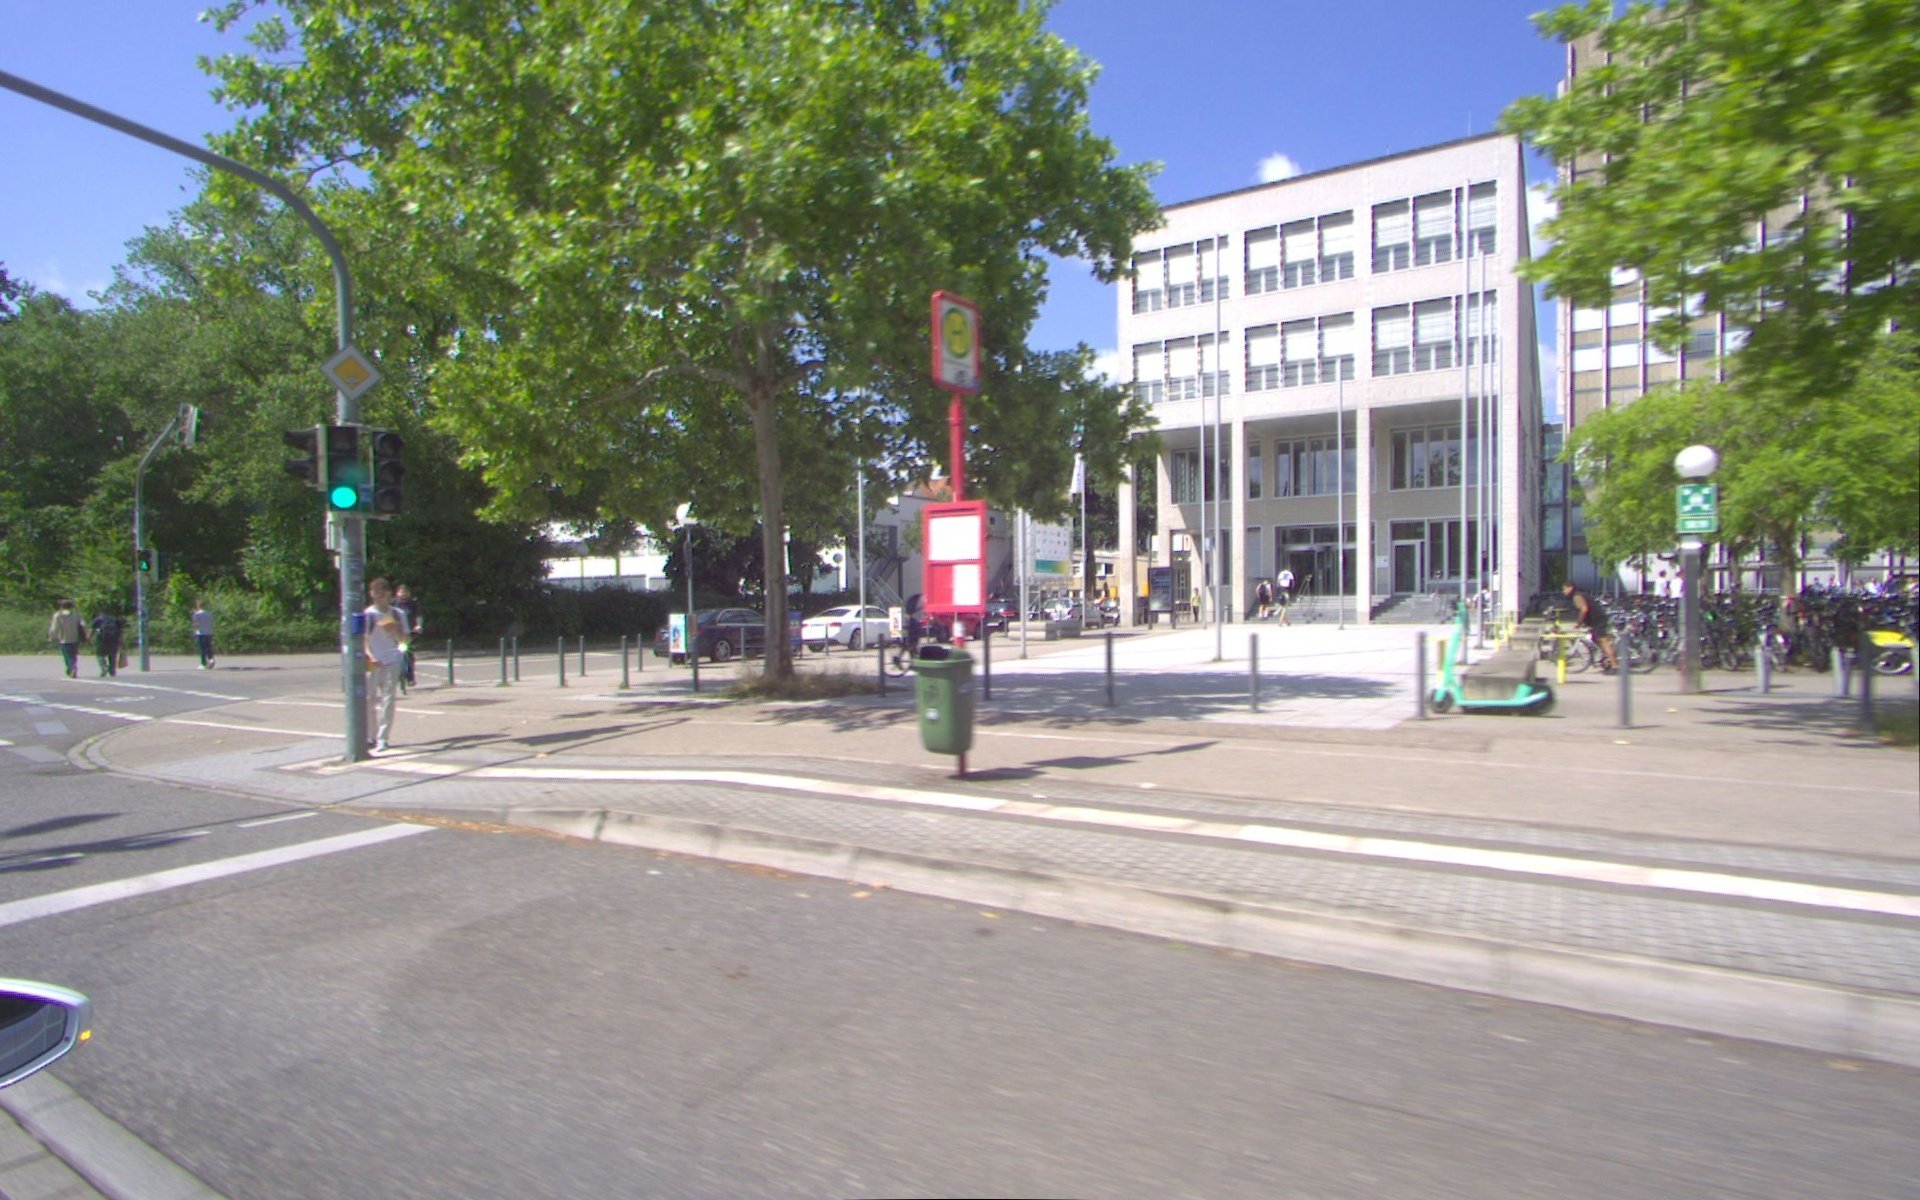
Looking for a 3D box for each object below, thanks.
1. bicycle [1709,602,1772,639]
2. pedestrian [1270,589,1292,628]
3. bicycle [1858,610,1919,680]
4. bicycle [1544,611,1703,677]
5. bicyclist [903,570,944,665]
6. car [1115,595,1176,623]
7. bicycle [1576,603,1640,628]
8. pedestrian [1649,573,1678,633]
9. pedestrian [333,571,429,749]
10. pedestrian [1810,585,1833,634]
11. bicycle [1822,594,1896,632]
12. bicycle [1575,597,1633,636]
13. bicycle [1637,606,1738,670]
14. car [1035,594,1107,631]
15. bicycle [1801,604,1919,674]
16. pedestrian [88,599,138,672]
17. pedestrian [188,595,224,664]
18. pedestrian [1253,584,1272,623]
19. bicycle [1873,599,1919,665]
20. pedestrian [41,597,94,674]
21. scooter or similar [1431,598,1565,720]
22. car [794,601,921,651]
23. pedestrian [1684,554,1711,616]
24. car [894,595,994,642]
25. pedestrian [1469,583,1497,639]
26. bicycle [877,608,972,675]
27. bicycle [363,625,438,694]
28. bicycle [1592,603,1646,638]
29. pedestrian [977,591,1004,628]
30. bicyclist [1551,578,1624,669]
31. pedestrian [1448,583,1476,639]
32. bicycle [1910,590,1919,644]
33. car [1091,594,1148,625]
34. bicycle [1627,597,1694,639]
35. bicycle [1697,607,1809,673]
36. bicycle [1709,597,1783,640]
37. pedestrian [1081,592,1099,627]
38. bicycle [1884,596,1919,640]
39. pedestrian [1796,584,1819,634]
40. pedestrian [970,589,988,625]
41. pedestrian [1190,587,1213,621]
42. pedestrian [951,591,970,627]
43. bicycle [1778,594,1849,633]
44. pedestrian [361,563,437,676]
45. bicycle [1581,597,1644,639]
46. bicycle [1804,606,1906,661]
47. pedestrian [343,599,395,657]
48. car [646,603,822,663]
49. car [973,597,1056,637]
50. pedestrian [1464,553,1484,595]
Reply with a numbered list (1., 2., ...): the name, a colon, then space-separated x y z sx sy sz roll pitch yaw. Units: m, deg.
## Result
1. bicycle: 24.246 0.636 31.139 0.592 1.113 1.768 0 -1 1
2. pedestrian: 13.349 0.352 41.595 0.710 1.605 0.712 0 -1 34
3. bicycle: 15.862 0.736 16.475 0.592 1.113 1.767 0 0 1
4. bicycle: 11.626 0.762 17.619 0.892 1.092 2.140 0 -2 -35
5. bicyclist: -0.728 0.354 20.014 0.747 1.869 0.662 0 -1 -8
6. car: 10.283 0.456 55.233 1.845 1.484 4.497 0 0 31
7. bicycle: 21.930 0.529 33.896 1.736 0.803 0.519 -1 1 19
8. pedestrian: 26.840 0.110 38.211 0.622 2.258 0.717 0 -1 1
9. pedestrian: -6.129 0.615 10.630 0.599 1.826 0.595 -2 3 -6
10. pedestrian: 40.341 0.444 46.905 0.627 2.258 0.710 1 -1 -40
11. bicycle: 26.515 0.399 29.565 0.592 1.113 1.768 0 -1 1
12. bicycle: 19.215 0.510 29.924 0.592 1.113 1.768 0 -1 1
13. bicycle: 13.284 0.684 18.348 0.592 1.113 1.768 0 -1 1
14. car: 5.114 0.555 45.679 1.698 1.549 4.547 -2 -1 28
15. bicycle: 15.058 0.640 16.699 0.592 1.113 1.768 0 -1 1
16. pedestrian: -20.692 0.838 24.467 1.169 1.727 0.791 1 1 43
17. pedestrian: -20.478 0.797 27.199 0.695 1.845 0.667 1 1 42
18. pedestrian: 13.496 0.168 44.700 0.625 1.687 0.712 0 -1 34
19. bicycle: 16.507 0.547 16.900 0.592 1.113 1.767 -1 0 1
20. pedestrian: -20.593 0.794 23.104 1.169 1.727 0.791 1 1 43
21. scooter or similar: 5.432 0.580 10.132 1.175 1.180 0.352 -1 -1 32
22. car: -3.188 0.799 31.969 1.699 1.418 4.416 -3 -1 31
23. pedestrian: 27.187 -0.541 36.947 0.624 2.258 0.852 0 -1 24
24. car: -0.510 0.648 36.380 1.597 1.516 4.124 -3 -1 32
25. pedestrian: 16.643 0.352 31.856 0.627 1.769 0.711 -1 -1 42
26. bicycle: -0.711 0.828 20.004 1.839 1.313 0.662 0 -1 -8
27. bicycle: -9.709 1.000 17.449 0.804 1.086 1.887 -3 0 -20
28. bicycle: 21.253 0.663 32.350 0.592 1.113 1.768 0 -1 1
29. pedestrian: 1.602 0.497 52.913 1.083 1.945 1.015 0 1 32
30. bicyclist: 11.252 0.416 17.968 0.654 1.585 0.927 -1 1 -36
31. pedestrian: 16.026 0.354 31.963 0.627 1.769 0.711 -1 -1 42
32. bicycle: 20.358 0.334 20.262 0.592 1.113 1.768 0 -1 1
33. car: 8.199 0.470 51.362 1.595 1.516 3.988 0 0 30
34. bicycle: 18.945 0.500 27.134 0.592 1.113 1.768 0 -1 1
35. bicycle: 13.936 0.694 17.665 0.592 1.113 1.768 0 -1 1
36. bicycle: 21.002 0.513 26.801 0.592 1.113 1.768 0 -1 1
37. pedestrian: 6.277 0.468 48.293 0.678 1.661 0.738 -1 1 -7
38. bicycle: 24.556 0.466 25.414 0.592 1.113 1.768 0 -1 1
39. pedestrian: 38.798 0.407 45.847 0.627 2.258 0.710 1 -1 -40
40. pedestrian: 1.050 0.381 54.594 0.715 1.951 0.747 0 1 32
41. pedestrian: 12.618 0.217 52.297 0.907 1.763 0.996 0 1 31
42. pedestrian: 0.032 0.507 54.717 0.725 1.951 0.779 -1 1 -36
43. bicycle: 25.283 0.407 29.693 0.592 1.113 1.768 0 -1 1
44. pedestrian: -9.759 0.324 17.456 0.842 1.844 1.173 -4 2 -20
45. bicycle: 18.027 0.505 27.696 0.592 1.113 1.768 0 -1 1
46. bicycle: 18.998 0.703 21.305 0.592 1.113 1.768 0 -1 1
47. pedestrian: -17.398 0.804 29.498 1.002 1.649 0.855 1 3 18
48. car: -5.992 0.843 27.199 1.699 1.418 4.923 -3 -1 31
49. car: 2.260 0.657 40.714 1.700 1.549 3.979 -1 0 31
50. pedestrian: 22.871 -1.155 44.520 0.710 1.821 0.712 0 -1 34
